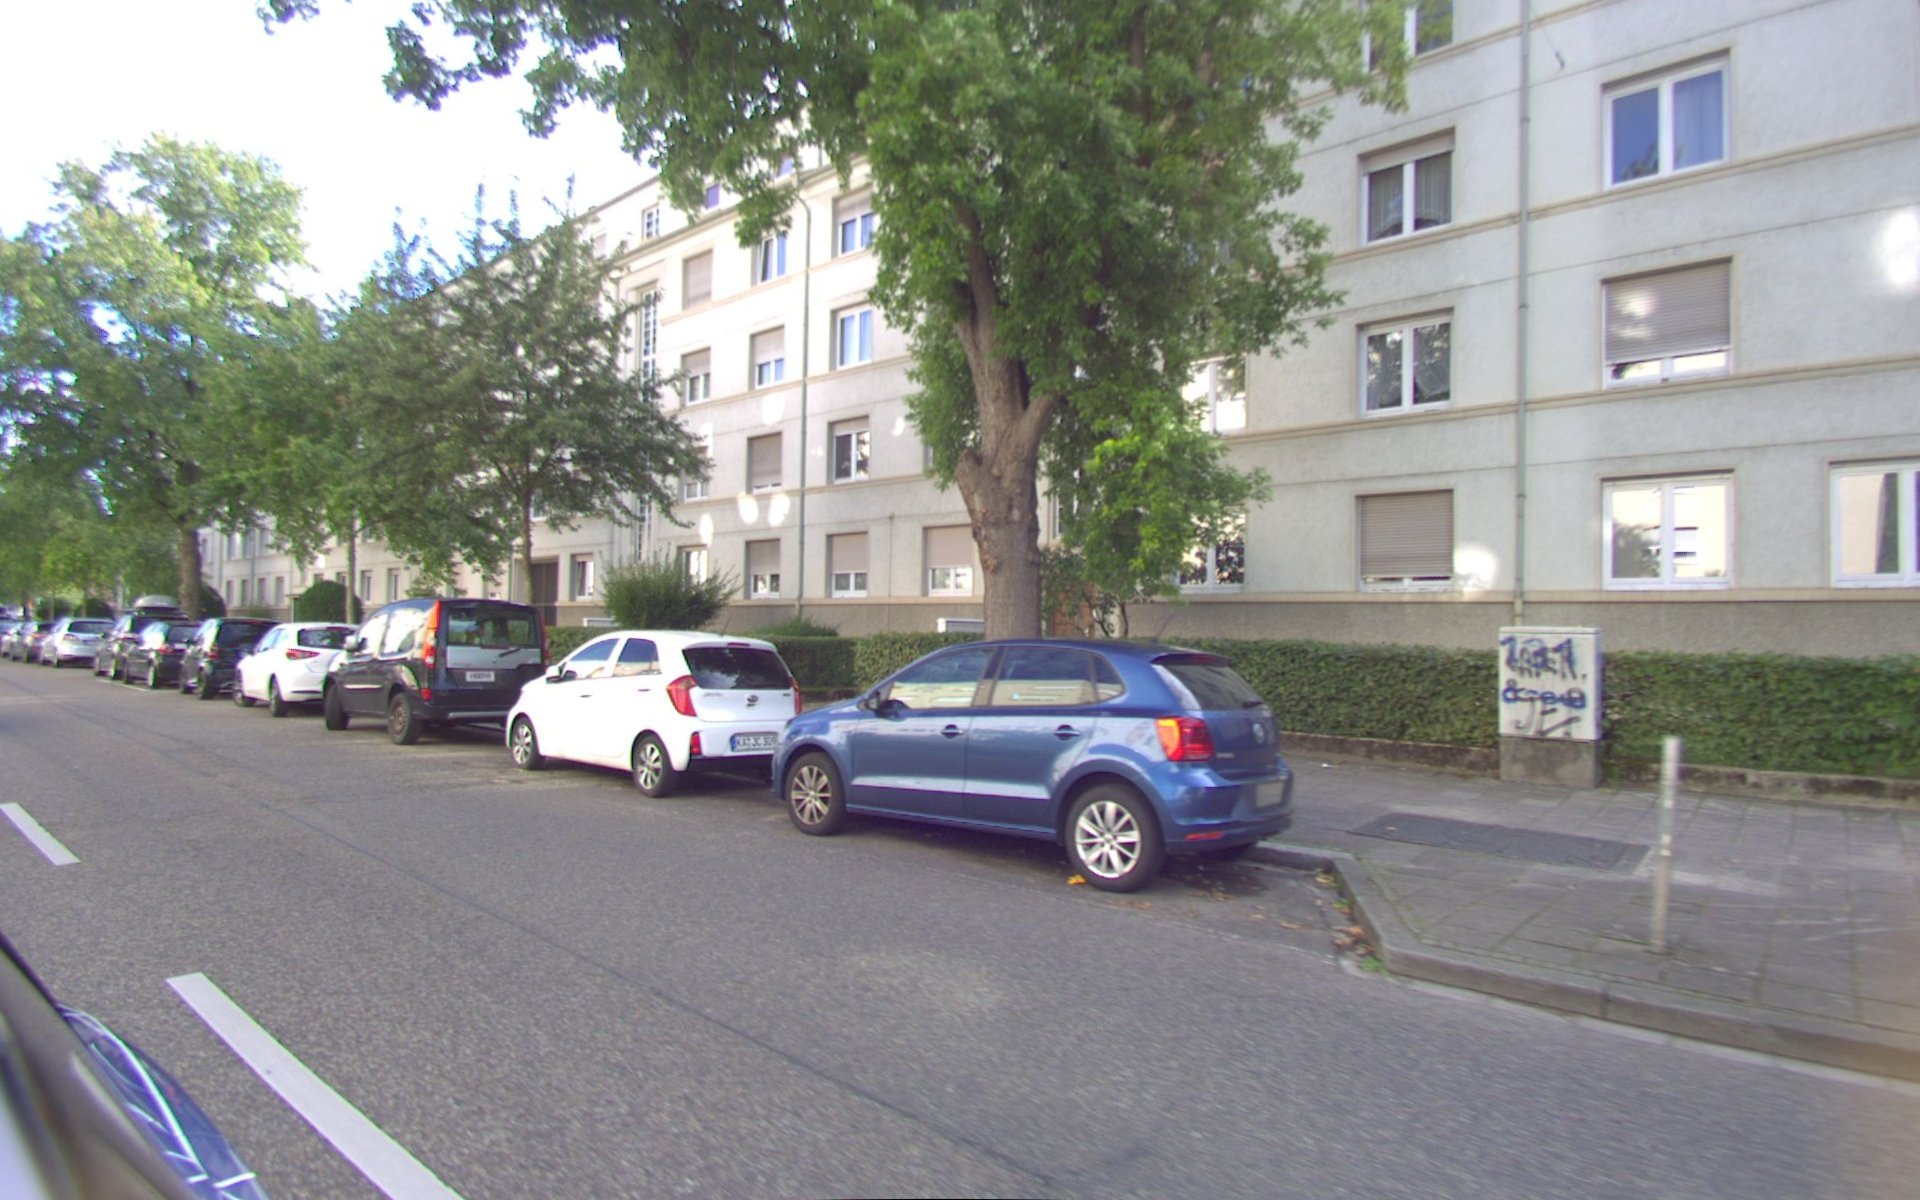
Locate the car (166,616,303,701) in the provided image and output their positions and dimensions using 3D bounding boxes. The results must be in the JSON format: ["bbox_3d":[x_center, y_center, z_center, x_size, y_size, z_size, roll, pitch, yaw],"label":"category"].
[{"bbox_3d":[-14.401,1.147,20.042,3.016,1.532,1.536,-1,-5,43],"label":"car"}]

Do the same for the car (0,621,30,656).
[{"bbox_3d":[-43.462,1.692,45.691,4.118,1.492,1.667,-1,-6,42],"label":"car"}]

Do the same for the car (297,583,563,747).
[{"bbox_3d":[-7.269,0.834,13.712,4.189,1.897,1.705,-1,-4,41],"label":"car"}]

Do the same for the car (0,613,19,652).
[{"bbox_3d":[-47.546,1.552,49.275,4.967,1.807,1.858,-1,-5,40],"label":"car"}]

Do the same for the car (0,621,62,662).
[{"bbox_3d":[-35.637,1.563,38.467,3.961,1.429,1.584,-1,-5,40],"label":"car"}]

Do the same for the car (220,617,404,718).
[{"bbox_3d":[-11.080,1.094,17.177,4.334,1.504,1.675,-2,-4,45],"label":"car"}]

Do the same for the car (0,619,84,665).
[{"bbox_3d":[-32.037,1.457,35.229,4.009,1.479,1.598,-1,-5,39],"label":"car"}]

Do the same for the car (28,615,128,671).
[{"bbox_3d":[-28.236,1.367,32.361,3.991,1.632,1.721,-1,-5,40],"label":"car"}]

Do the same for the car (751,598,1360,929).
[{"bbox_3d":[0.512,0.896,6.946,3.799,1.632,1.781,-1,-5,40],"label":"car"}]

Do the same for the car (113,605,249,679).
[{"bbox_3d":[-17.446,0.944,22.617,3.847,1.498,1.682,-1,-5,42],"label":"car"}]

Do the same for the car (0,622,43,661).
[{"bbox_3d":[-39.725,1.712,42.292,4.453,1.492,1.666,-1,-6,44],"label":"car"}]

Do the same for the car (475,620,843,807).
[{"bbox_3d":[-3.123,1.010,10.147,3.802,1.505,1.780,-1,-5,42],"label":"car"}]

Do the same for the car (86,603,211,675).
[{"bbox_3d":[-21.140,1.010,26.298,4.481,1.681,1.780,-1,-5,42],"label":"car"}]
